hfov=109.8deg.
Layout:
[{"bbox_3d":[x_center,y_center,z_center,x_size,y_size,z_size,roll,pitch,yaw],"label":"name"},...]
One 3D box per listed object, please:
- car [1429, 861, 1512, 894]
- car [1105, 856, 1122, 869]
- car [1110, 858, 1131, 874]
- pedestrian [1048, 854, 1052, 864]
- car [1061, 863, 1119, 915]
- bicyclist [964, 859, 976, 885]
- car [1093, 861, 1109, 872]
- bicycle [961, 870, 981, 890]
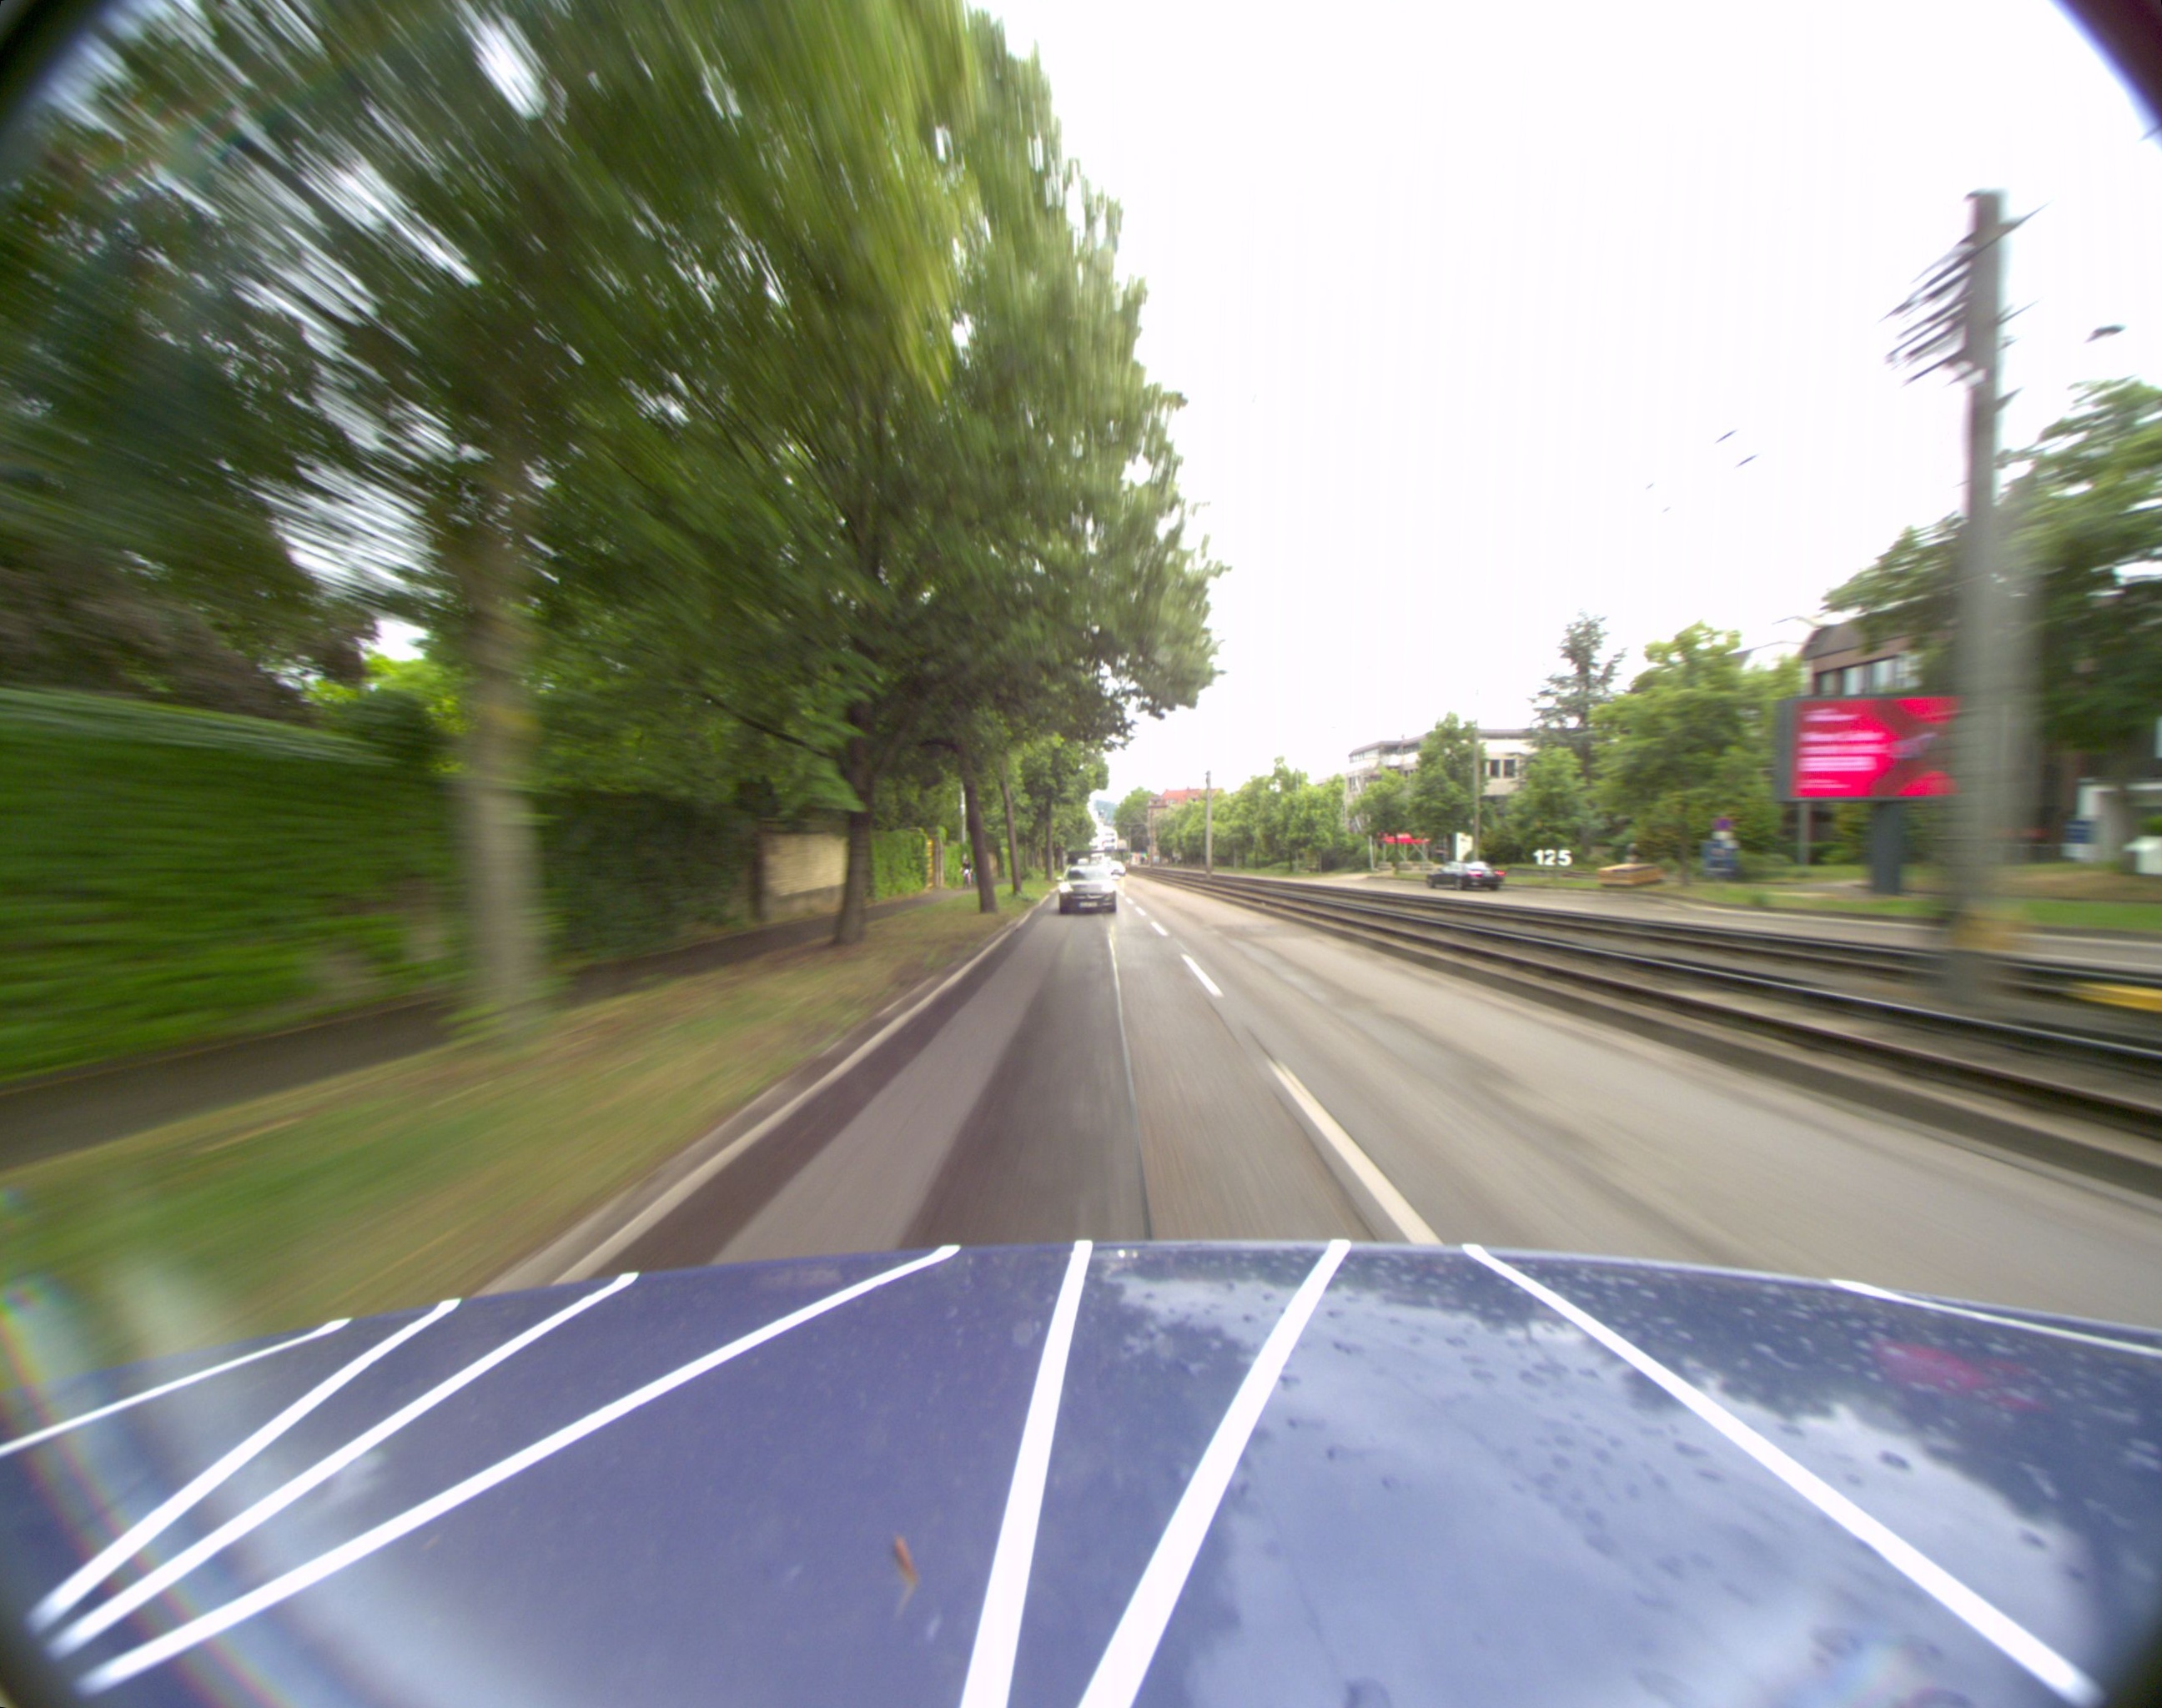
[{"bbox_3d":[19.816,1.154,38.905,1.799,1.521,4.621,-1,1,-1],"label":"car"},{"bbox_3d":[3.850,1.047,89.995,1.807,1.483,4.102,0,0,-1],"label":"car"},{"bbox_3d":[3.789,1.169,73.949,1.807,1.483,4.102,0,0,-1],"label":"car"},{"bbox_3d":[-5.333,0.912,131.979,0.710,1.769,0.901,-1,0,-3],"label":"pedestrian"},{"bbox_3d":[0.229,1.021,23.628,1.658,1.483,3.829,0,0,-1],"label":"car"},{"bbox_3d":[-5.919,0.936,40.588,0.536,1.381,0.666,0,0,3],"label":"bicyclist"},{"bbox_3d":[3.241,2.070,125.514,2.000,1.801,3.998,-2,0,-7],"label":"car"},{"bbox_3d":[-5.904,1.380,40.738,0.544,0.942,2.550,0,0,4],"label":"bicycle"}]
